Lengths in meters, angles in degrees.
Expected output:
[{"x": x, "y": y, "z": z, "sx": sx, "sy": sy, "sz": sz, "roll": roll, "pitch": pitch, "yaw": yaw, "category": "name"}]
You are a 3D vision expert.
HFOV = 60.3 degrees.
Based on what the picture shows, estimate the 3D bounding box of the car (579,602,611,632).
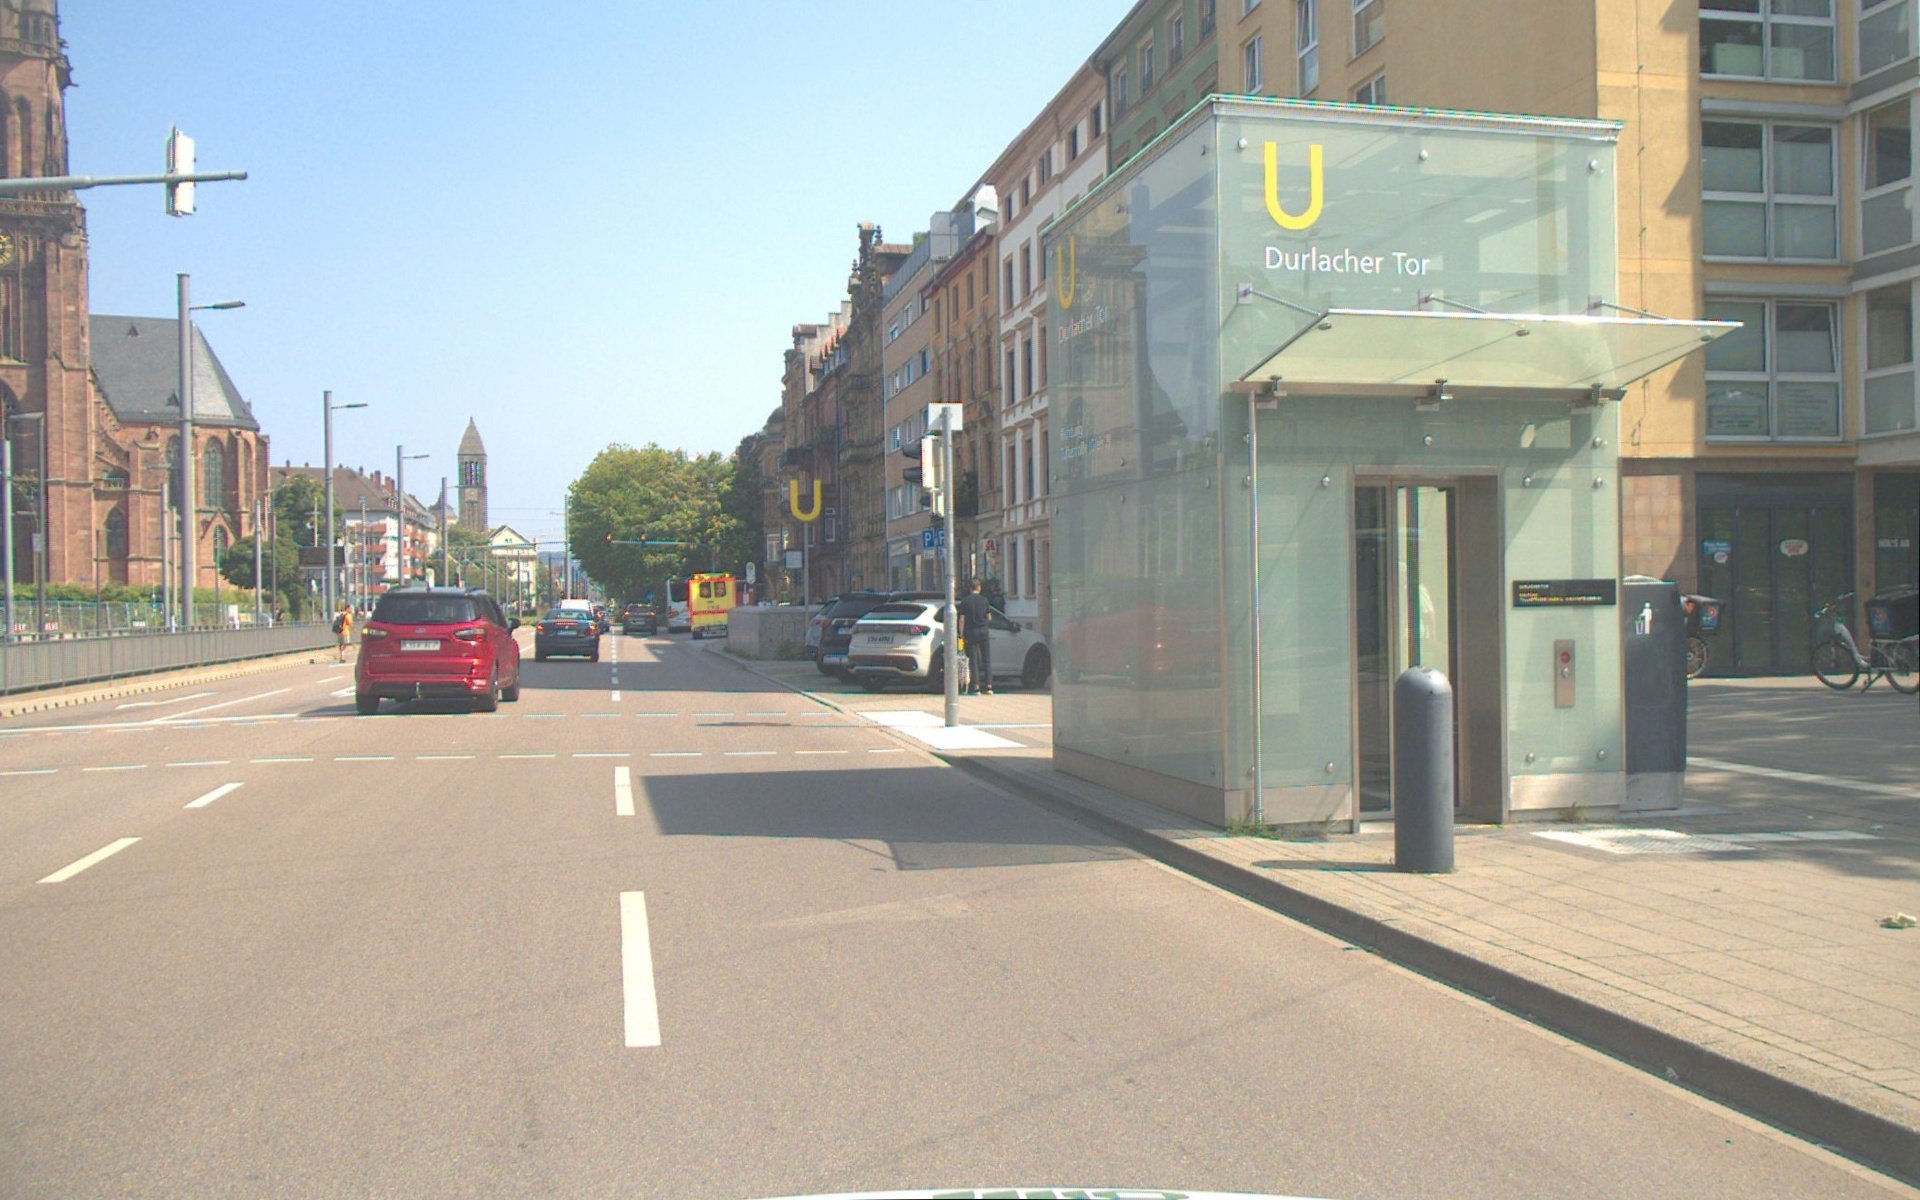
[{"x": -22.016, "y": 1.039, "z": 99.683, "sx": 1.759, "sy": 1.728, "sz": 3.986, "roll": -1, "pitch": -1, "yaw": -13, "category": "car"}]

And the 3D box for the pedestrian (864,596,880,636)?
[{"x": -4.014, "y": 0.729, "z": 75.399, "sx": 0.567, "sy": 1.780, "sz": 0.677, "roll": -3, "pitch": 0, "yaw": -12, "category": "pedestrian"}]

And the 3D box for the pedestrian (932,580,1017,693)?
[{"x": 0.237, "y": 0.565, "z": 26.234, "sx": 1.028, "sy": 1.734, "sz": 0.892, "roll": 1, "pitch": -1, "yaw": -39, "category": "pedestrian"}]

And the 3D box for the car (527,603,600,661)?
[{"x": -10.765, "y": 0.836, "z": 45.077, "sx": 1.758, "sy": 1.456, "sz": 3.989, "roll": -1, "pitch": 0, "yaw": -11, "category": "car"}]

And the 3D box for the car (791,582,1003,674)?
[{"x": -1.235, "y": 0.536, "z": 34.637, "sx": 2.003, "sy": 1.743, "sz": 4.648, "roll": -1, "pitch": 0, "yaw": 36, "category": "car"}]

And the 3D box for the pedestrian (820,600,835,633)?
[{"x": -6.939, "y": 0.854, "z": 86.599, "sx": 0.632, "sy": 1.714, "sz": 0.787, "roll": -1, "pitch": 0, "yaw": -13, "category": "pedestrian"}]

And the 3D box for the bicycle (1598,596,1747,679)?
[{"x": 10.495, "y": 0.547, "z": 24.402, "sx": 1.922, "sy": 1.163, "sz": 0.597, "roll": -1, "pitch": 0, "yaw": 3, "category": "bicycle"}]

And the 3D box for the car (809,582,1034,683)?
[{"x": -0.640, "y": 0.553, "z": 30.939, "sx": 1.947, "sy": 1.717, "sz": 4.376, "roll": -1, "pitch": 0, "yaw": 36, "category": "car"}]

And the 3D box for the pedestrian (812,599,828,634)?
[{"x": -6.941, "y": 0.827, "z": 81.937, "sx": 0.684, "sy": 1.696, "sz": 0.601, "roll": -1, "pitch": 0, "yaw": -10, "category": "pedestrian"}]

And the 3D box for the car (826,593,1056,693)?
[{"x": -0.260, "y": 0.689, "z": 27.709, "sx": 1.775, "sy": 1.526, "sz": 3.763, "roll": 1, "pitch": 0, "yaw": 42, "category": "car"}]

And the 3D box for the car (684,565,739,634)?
[{"x": -11.166, "y": -0.039, "z": 74.563, "sx": 2.256, "sy": 2.939, "sz": 5.588, "roll": -2, "pitch": 0, "yaw": -8, "category": "car"}]

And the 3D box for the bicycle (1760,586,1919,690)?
[{"x": 11.542, "y": 0.463, "z": 21.430, "sx": 0.778, "sy": 1.260, "sz": 2.427, "roll": -1, "pitch": 0, "yaw": -12, "category": "bicycle"}]

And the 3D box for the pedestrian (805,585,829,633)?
[{"x": -5.525, "y": 0.335, "z": 63.839, "sx": 0.833, "sy": 1.759, "sz": 0.970, "roll": -2, "pitch": 2, "yaw": -6, "category": "pedestrian"}]

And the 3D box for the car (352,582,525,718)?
[{"x": -7.032, "y": 0.617, "z": 22.674, "sx": 1.730, "sy": 1.646, "sz": 4.072, "roll": -1, "pitch": 0, "yaw": -10, "category": "car"}]

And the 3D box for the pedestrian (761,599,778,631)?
[{"x": -10.238, "y": 0.783, "z": 88.940, "sx": 0.682, "sy": 1.696, "sz": 0.603, "roll": -1, "pitch": 0, "yaw": 14, "category": "pedestrian"}]

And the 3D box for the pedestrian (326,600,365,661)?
[{"x": -18.343, "y": 0.911, "z": 49.407, "sx": 0.745, "sy": 1.782, "sz": 1.069, "roll": -1, "pitch": -1, "yaw": 0, "category": "pedestrian"}]

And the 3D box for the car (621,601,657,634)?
[{"x": -17.416, "y": 0.979, "z": 89.619, "sx": 1.759, "sy": 1.707, "sz": 3.986, "roll": -1, "pitch": -1, "yaw": -13, "category": "car"}]

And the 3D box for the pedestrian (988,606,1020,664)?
[{"x": 1.476, "y": 1.164, "z": 55.452, "sx": 0.829, "sy": 1.878, "sz": 0.682, "roll": -3, "pitch": 0, "yaw": -21, "category": "pedestrian"}]

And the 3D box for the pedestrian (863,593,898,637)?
[{"x": -2.928, "y": 0.549, "z": 61.074, "sx": 0.954, "sy": 1.609, "sz": 0.847, "roll": -2, "pitch": -1, "yaw": 44, "category": "pedestrian"}]

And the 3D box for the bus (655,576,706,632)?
[{"x": -16.797, "y": 0.272, "z": 98.770, "sx": 2.489, "sy": 3.085, "sz": 12.398, "roll": -1, "pitch": 0, "yaw": -12, "category": "bus"}]

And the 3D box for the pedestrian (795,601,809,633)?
[{"x": -8.540, "y": 0.895, "z": 89.414, "sx": 0.684, "sy": 1.696, "sz": 1.062, "roll": -1, "pitch": 0, "yaw": -10, "category": "pedestrian"}]

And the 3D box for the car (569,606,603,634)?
[{"x": -20.584, "y": 1.124, "z": 90.882, "sx": 1.759, "sy": 1.498, "sz": 3.986, "roll": -1, "pitch": -1, "yaw": -13, "category": "car"}]

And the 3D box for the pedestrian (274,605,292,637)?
[{"x": -38.281, "y": 1.204, "z": 93.518, "sx": 0.814, "sy": 1.782, "sz": 0.718, "roll": -1, "pitch": -1, "yaw": -12, "category": "pedestrian"}]

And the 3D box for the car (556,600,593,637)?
[{"x": -19.287, "y": 0.944, "z": 82.706, "sx": 1.759, "sy": 1.811, "sz": 3.986, "roll": -1, "pitch": -1, "yaw": -13, "category": "car"}]

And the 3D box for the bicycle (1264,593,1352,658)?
[{"x": 7.015, "y": 0.489, "z": 33.471, "sx": 0.921, "sy": 1.260, "sz": 2.417, "roll": -1, "pitch": 0, "yaw": -9, "category": "bicycle"}]
